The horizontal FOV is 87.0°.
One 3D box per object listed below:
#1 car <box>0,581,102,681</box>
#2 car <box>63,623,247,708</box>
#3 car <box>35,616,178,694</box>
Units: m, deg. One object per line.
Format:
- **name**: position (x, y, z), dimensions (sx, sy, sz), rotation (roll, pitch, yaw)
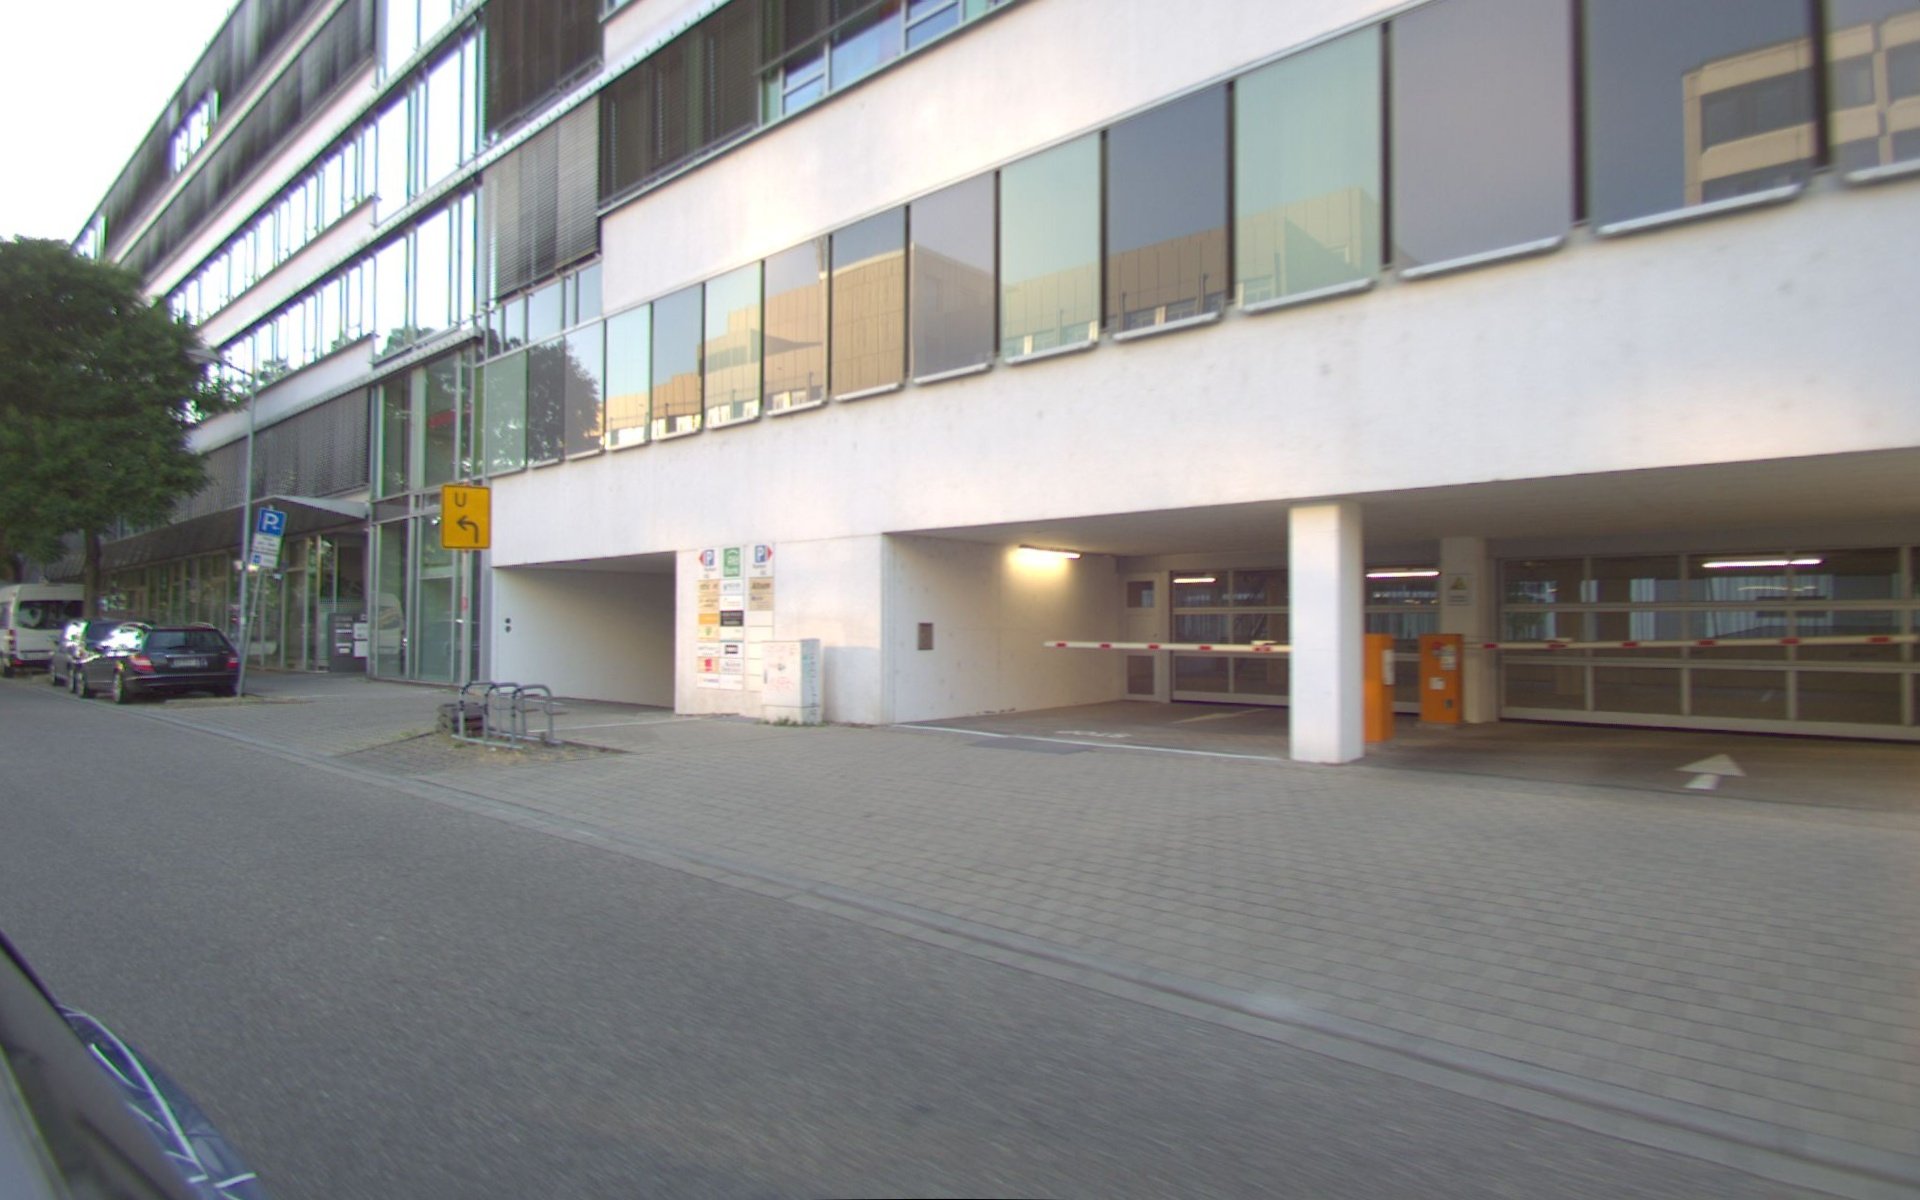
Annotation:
- **car**: position (-27.545, 0.936, 30.079), dimensions (6.947, 2.684, 2.078), rotation (-2, -2, 41)
- **car**: position (-15.450, 1.195, 19.343), dimensions (4.391, 1.463, 1.699), rotation (-2, -2, 37)
- **car**: position (-19.257, 1.195, 22.769), dimensions (4.265, 1.583, 1.825), rotation (-2, -2, 41)
